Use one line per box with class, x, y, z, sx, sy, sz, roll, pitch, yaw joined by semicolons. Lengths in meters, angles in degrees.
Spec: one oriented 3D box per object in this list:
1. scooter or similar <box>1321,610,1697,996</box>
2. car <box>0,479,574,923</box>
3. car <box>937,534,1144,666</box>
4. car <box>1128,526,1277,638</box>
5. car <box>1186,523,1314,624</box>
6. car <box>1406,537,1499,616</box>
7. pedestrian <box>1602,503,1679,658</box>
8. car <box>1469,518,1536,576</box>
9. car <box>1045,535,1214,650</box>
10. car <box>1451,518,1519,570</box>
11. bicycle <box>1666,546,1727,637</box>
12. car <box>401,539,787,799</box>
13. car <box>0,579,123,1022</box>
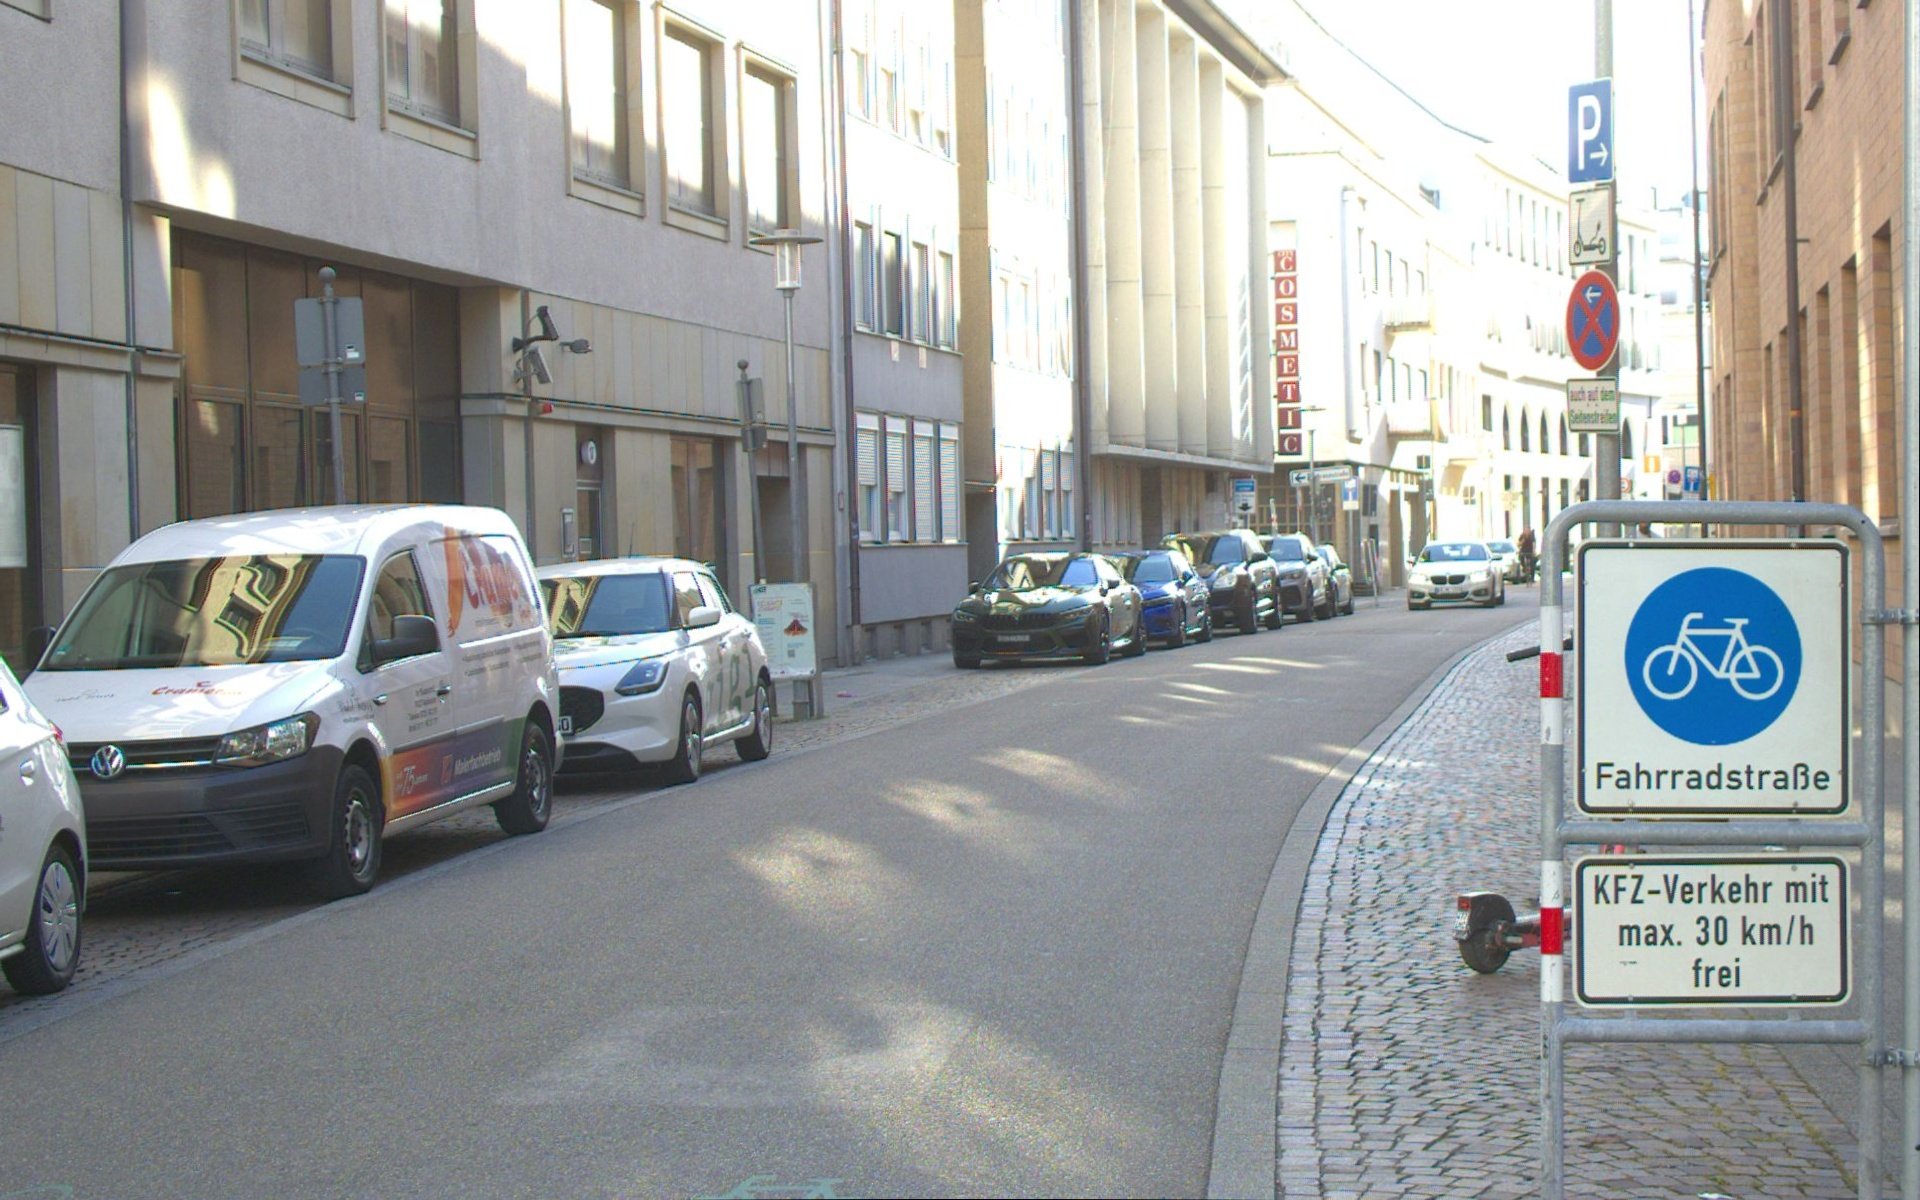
scooter or similar;1.941;0.674;12.053;1.415;1.231;0.538;-2;2;-42
car;-3.485;0.399;17.106;1.900;1.851;4.732;-3;1;8
car;1.087;-0.041;43.711;1.891;1.525;4.727;-2;1;10
car;3.985;-0.324;55.773;1.891;1.670;4.552;-2;1;10
car;5.371;-0.508;63.242;1.891;1.736;4.389;-2;1;10
car;10.151;-0.498;70.711;1.715;1.512;4.158;-2;1;10
pedestrian;7.787;-0.229;39.349;0.760;1.710;0.821;-3;1;10
car;15.068;-1.483;95.339;1.640;1.512;4.158;-2;1;11
car;2.521;-0.139;50.110;1.891;1.525;4.338;-2;1;10
car;16.424;-1.750;107.469;1.738;1.600;3.530;0;1;14
bicycle;9.473;-0.124;44.269;0.550;1.099;1.982;-4;1;8
car;-2.395;0.405;23.398;1.670;1.517;3.775;-3;1;8
car;-4.187;0.743;11.219;1.737;1.487;3.799;-3;1;3
